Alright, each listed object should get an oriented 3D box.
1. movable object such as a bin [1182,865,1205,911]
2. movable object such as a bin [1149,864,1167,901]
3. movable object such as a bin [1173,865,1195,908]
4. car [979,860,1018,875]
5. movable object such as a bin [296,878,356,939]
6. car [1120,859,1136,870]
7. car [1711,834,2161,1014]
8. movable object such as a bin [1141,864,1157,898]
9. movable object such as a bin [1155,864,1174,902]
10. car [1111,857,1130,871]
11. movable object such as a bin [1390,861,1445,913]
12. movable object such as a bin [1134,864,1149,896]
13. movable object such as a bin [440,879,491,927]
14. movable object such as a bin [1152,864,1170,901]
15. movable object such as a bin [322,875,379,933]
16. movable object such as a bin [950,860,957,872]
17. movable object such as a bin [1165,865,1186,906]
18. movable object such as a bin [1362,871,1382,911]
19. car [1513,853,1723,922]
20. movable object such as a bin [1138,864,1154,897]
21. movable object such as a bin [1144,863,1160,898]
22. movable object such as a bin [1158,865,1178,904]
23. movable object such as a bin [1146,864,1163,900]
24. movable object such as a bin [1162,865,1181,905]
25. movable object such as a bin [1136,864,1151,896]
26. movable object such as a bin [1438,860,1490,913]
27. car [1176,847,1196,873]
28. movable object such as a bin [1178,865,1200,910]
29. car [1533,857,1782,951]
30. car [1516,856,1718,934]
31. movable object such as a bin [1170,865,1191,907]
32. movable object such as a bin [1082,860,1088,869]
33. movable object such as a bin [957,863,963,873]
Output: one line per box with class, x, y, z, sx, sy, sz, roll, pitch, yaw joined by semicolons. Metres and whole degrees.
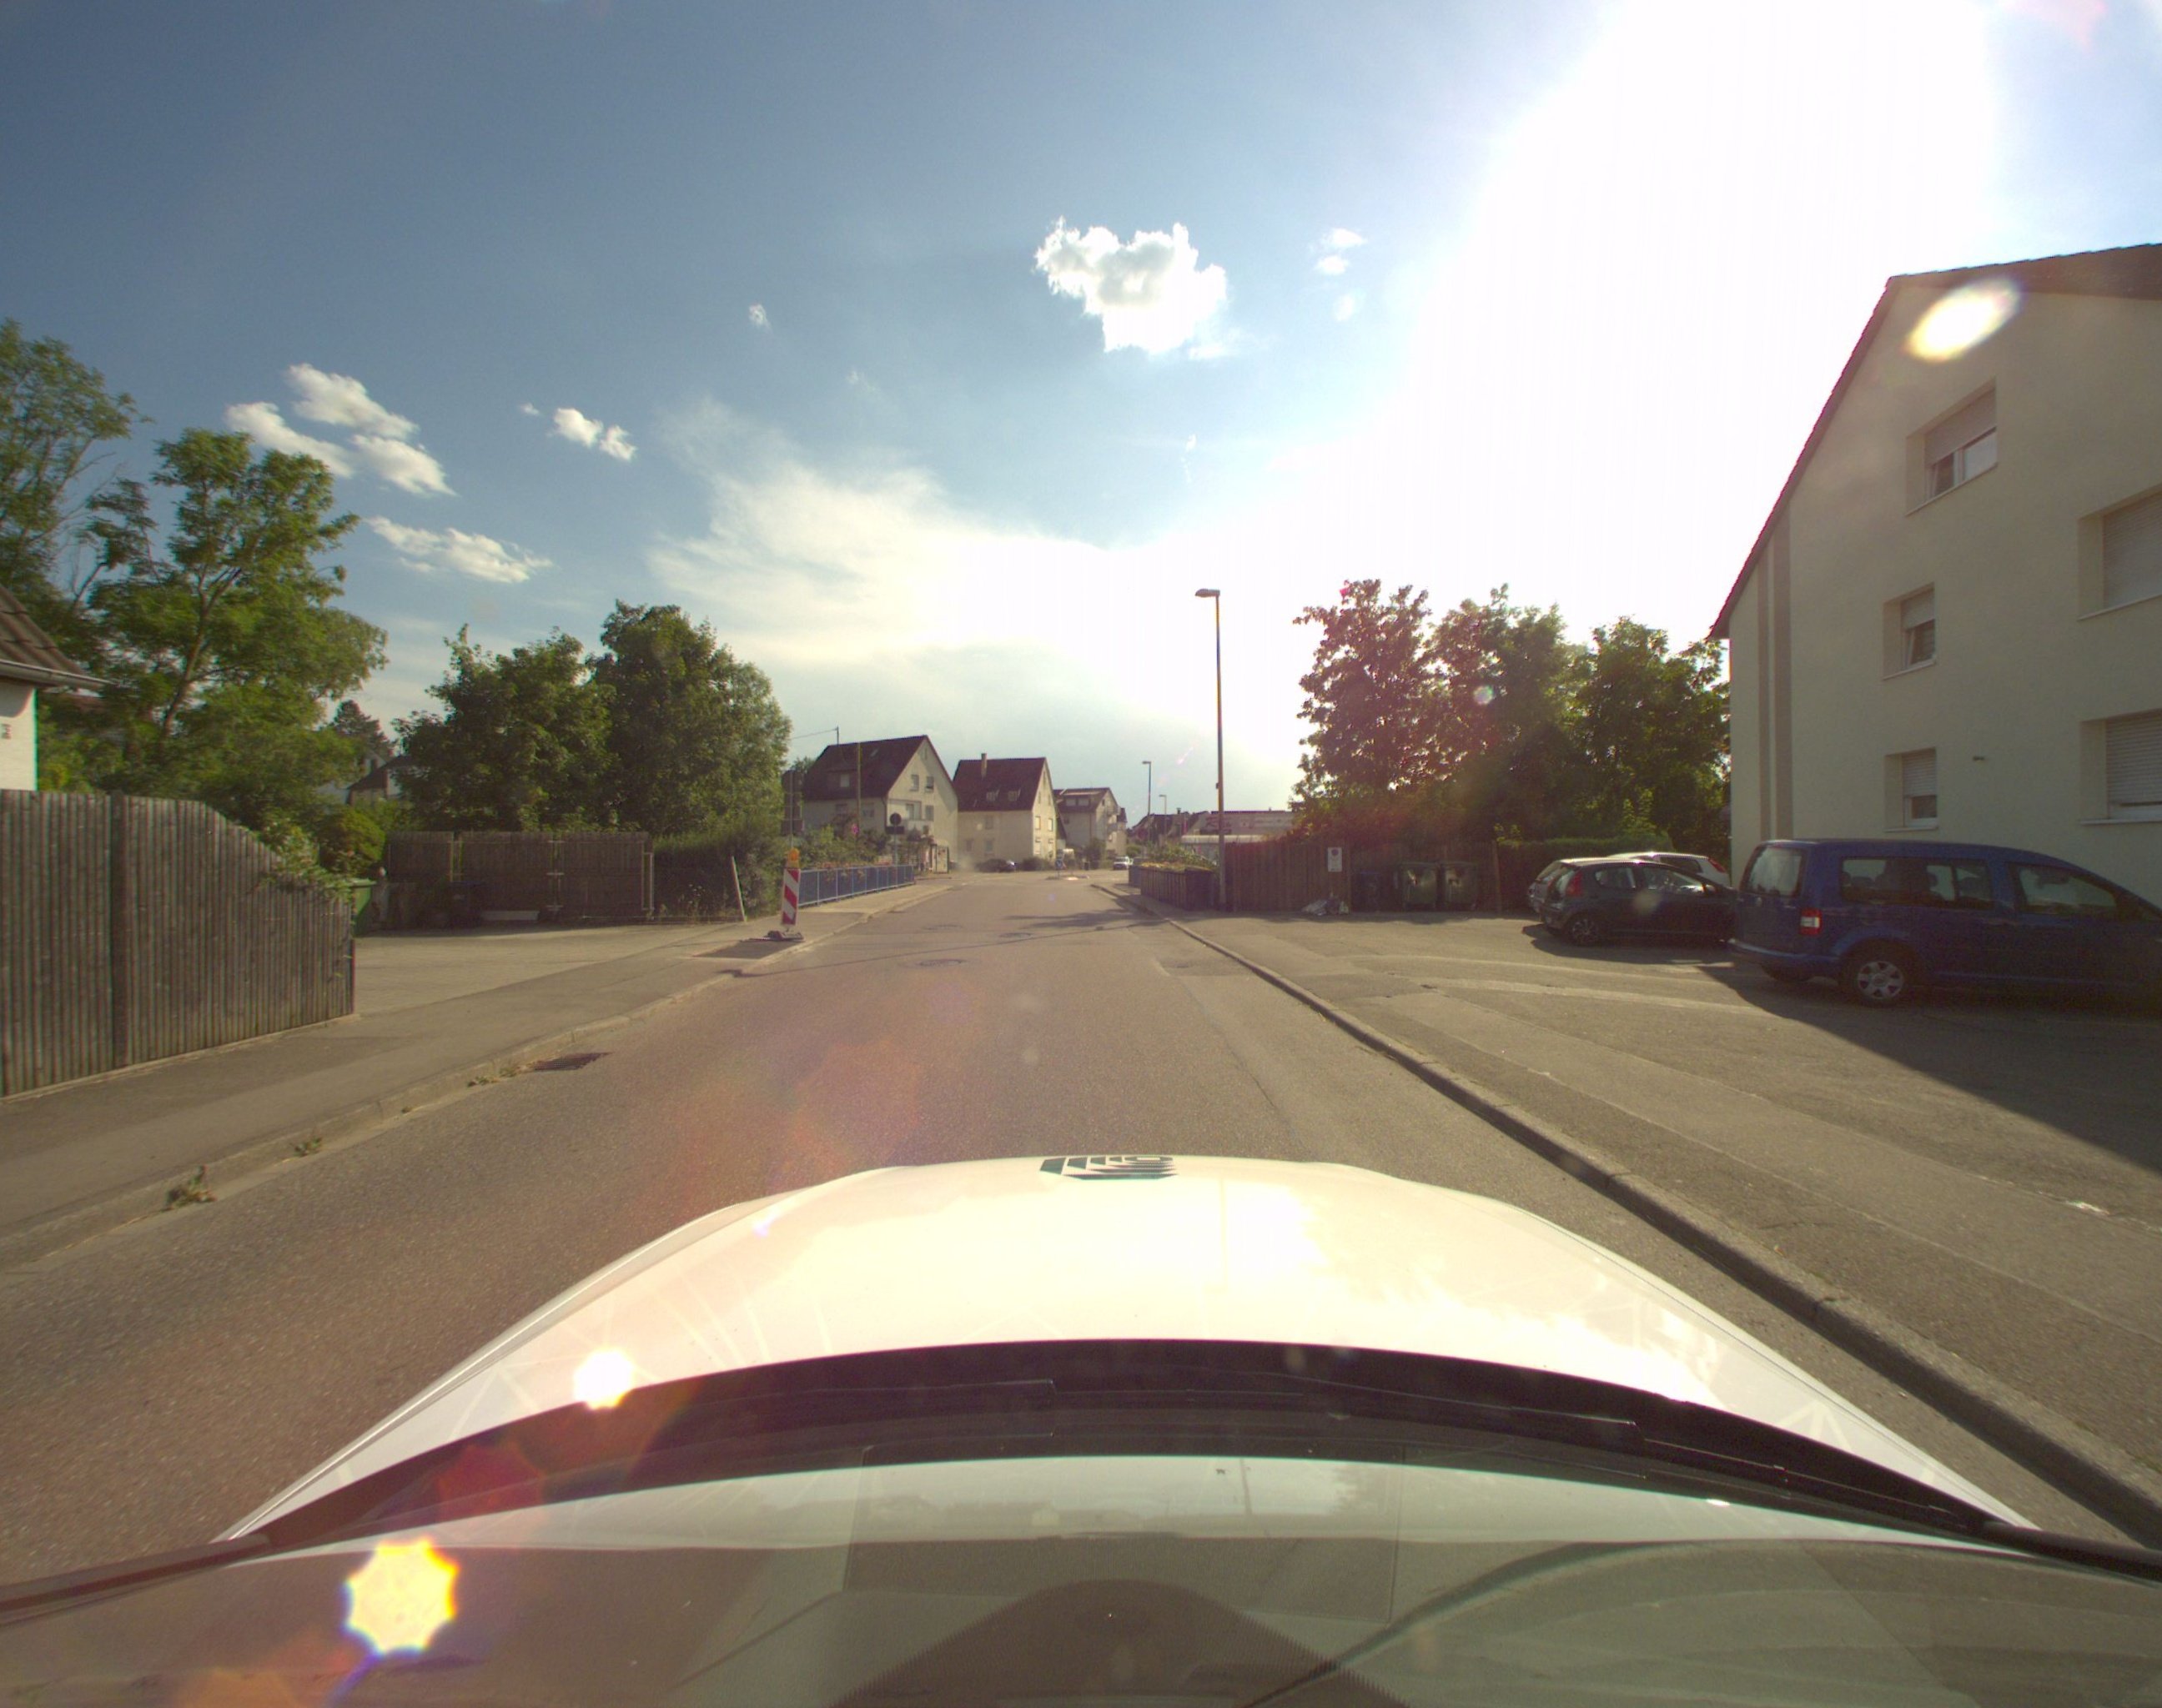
movable object such as a bin;2.856;0.864;20.773;0.478;1.143;0.538;0;-1;-4
movable object such as a bin;2.464;0.906;26.155;0.478;1.143;0.538;0;-1;-4
movable object such as a bin;2.766;0.872;21.896;0.478;1.143;0.542;0;-1;-4
car;-8.500;1.398;83.691;3.949;1.433;1.663;1;0;39
movable object such as a bin;-13.717;0.974;14.816;0.547;1.050;0.591;0;1;-8
car;6.464;1.384;112.204;1.661;1.451;3.847;-1;0;12
car;10.079;0.684;9.320;4.170;1.786;1.774;0;2;14
movable object such as a bin;2.334;0.920;28.037;0.478;1.143;0.538;0;-1;-4
movable object such as a bin;2.556;0.896;24.935;0.478;1.143;0.538;0;-1;-4
car;5.249;1.298;107.875;1.705;1.872;4.206;-1;0;12
movable object such as a bin;8.969;0.860;21.749;1.144;1.337;1.049;0;0;10
movable object such as a bin;2.198;0.934;29.791;0.478;1.143;0.538;0;-1;-4
movable object such as a bin;-12.542;0.987;16.611;0.590;0.918;0.592;0;1;-2
movable object such as a bin;2.508;0.890;25.551;0.478;1.143;0.564;0;-1;-4
movable object such as a bin;-13.823;0.935;15.430;0.547;1.050;0.591;0;1;-8
movable object such as a bin;-11.758;1.122;75.074;0.358;1.041;0.561;0;-2;28
movable object such as a bin;2.682;0.882;23.152;0.478;1.143;0.538;0;-1;-4
movable object such as a bin;7.817;0.993;21.859;0.429;1.044;0.443;0;0;10
car;12.200;0.724;18.743;3.716;1.450;1.643;0;0;14
movable object such as a bin;2.285;0.925;28.637;0.478;1.143;0.538;0;-1;-4
movable object such as a bin;2.386;0.885;27.396;0.478;1.143;0.538;0;-1;-4
movable object such as a bin;2.597;0.892;24.342;0.478;1.143;0.538;0;-1;-4
movable object such as a bin;2.409;0.911;26.772;0.478;1.143;0.538;0;-1;-4
movable object such as a bin;2.638;0.897;23.767;0.478;1.143;0.538;0;-1;-4
movable object such as a bin;2.238;0.930;29.212;0.478;1.143;0.538;0;-1;-4
movable object such as a bin;10.150;0.841;21.632;1.034;1.337;1.007;0;0;10
car;10.007;0.593;77.551;1.826;2.375;5.189;-1;-1;8
movable object such as a bin;2.819;0.868;21.334;0.478;1.143;0.538;0;-1;-4
car;9.823;0.796;14.151;3.184;1.450;1.657;0;1;16
car;10.787;0.774;16.609;3.104;1.450;1.583;0;0;14
movable object such as a bin;2.745;0.877;22.461;0.478;1.143;0.538;0;-1;-4
movable object such as a bin;0.462;1.249;97.412;0.607;1.101;0.577;1;-1;12
movable object such as a bin;-11.279;1.281;76.137;0.358;0.925;0.402;0;-2;28
